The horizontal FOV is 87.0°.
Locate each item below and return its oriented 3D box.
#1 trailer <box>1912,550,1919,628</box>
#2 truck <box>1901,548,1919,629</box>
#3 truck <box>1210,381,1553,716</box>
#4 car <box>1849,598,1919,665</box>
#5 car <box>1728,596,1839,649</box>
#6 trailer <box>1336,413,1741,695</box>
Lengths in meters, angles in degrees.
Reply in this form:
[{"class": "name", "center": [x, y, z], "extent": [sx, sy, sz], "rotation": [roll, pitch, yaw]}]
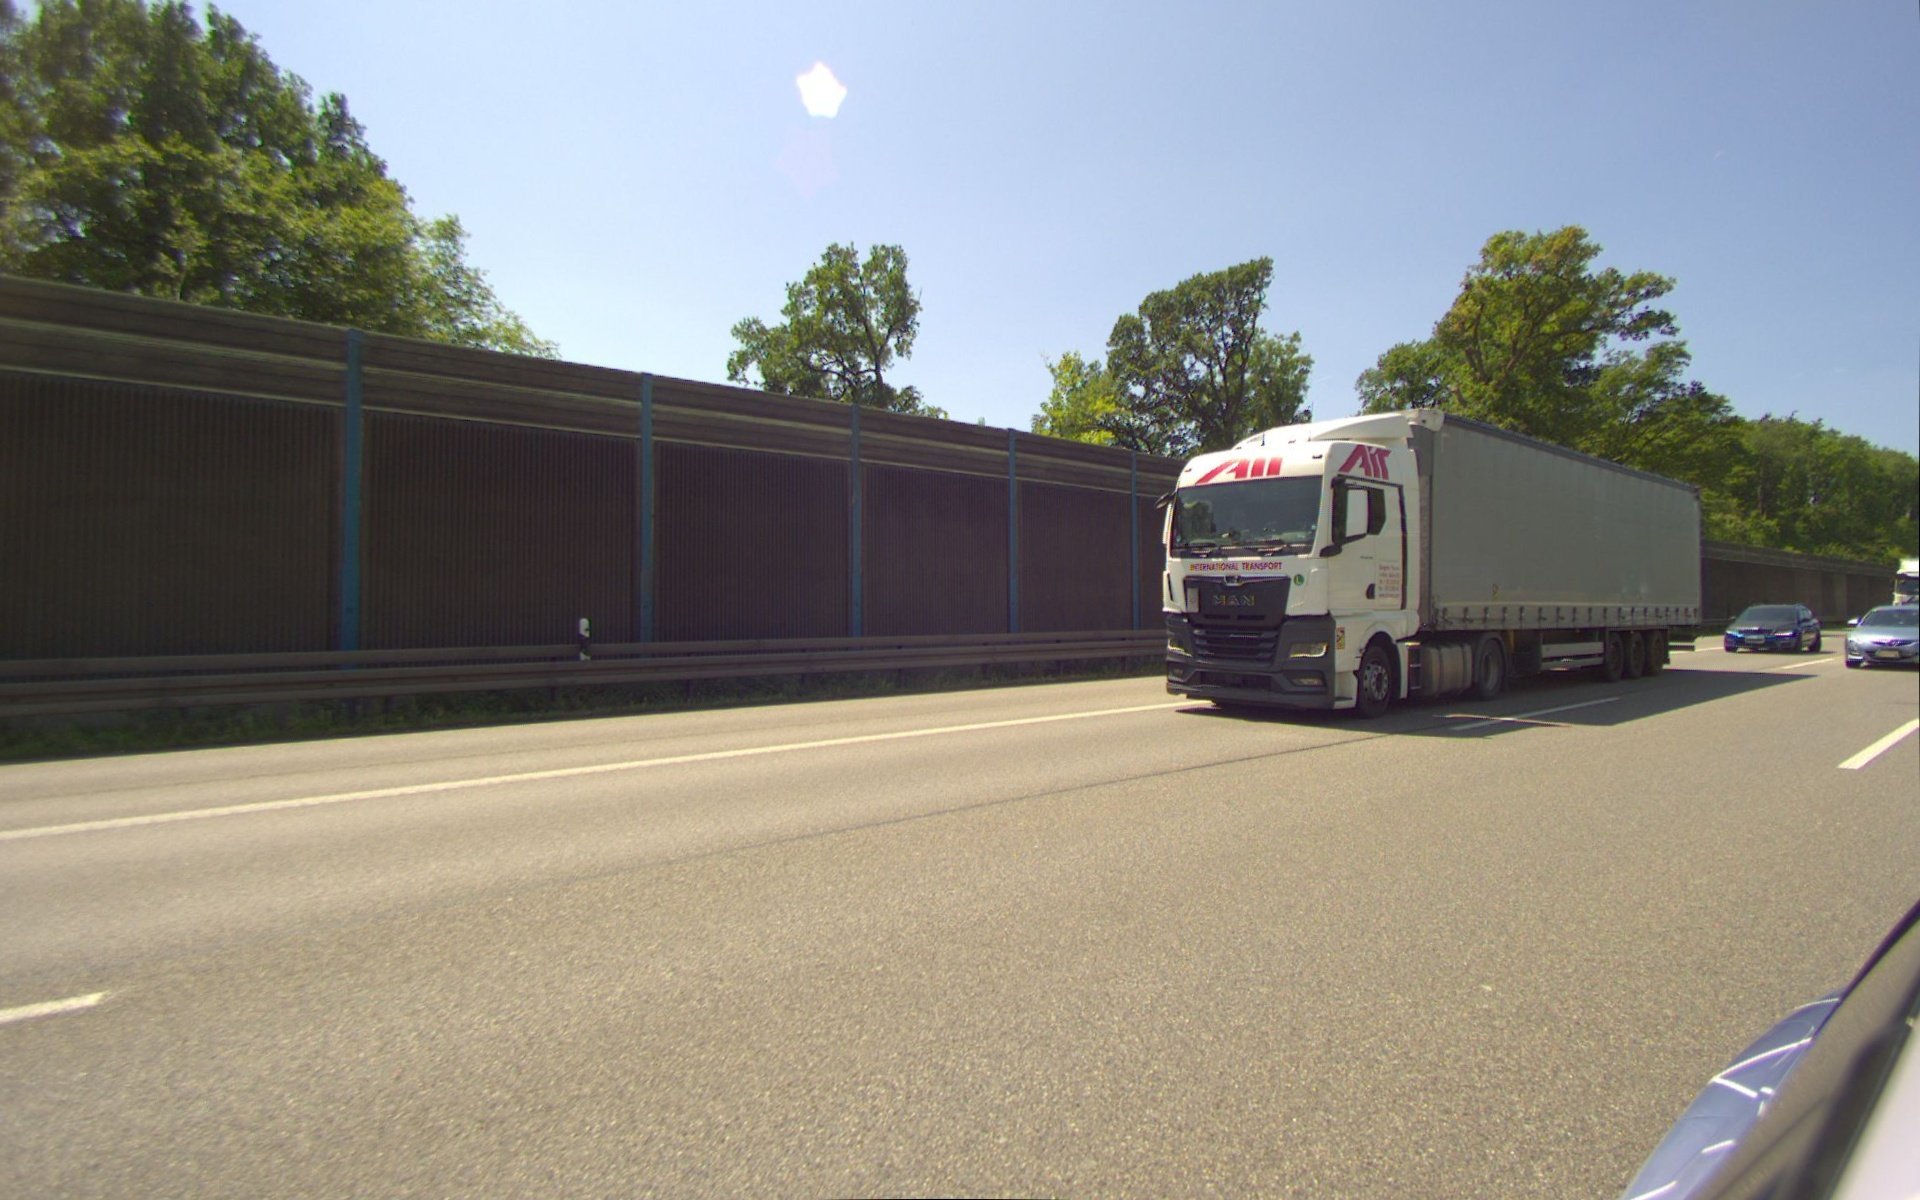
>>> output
[{"class": "trailer", "center": [58.748, -0.598, 58.891], "extent": [13.216, 4.269, 2.821], "rotation": [0, -1, -38]}, {"class": "truck", "center": [53.432, -0.610, 54.780], "extent": [5.321, 4.269, 2.812], "rotation": [0, -1, -38]}, {"class": "truck", "center": [6.499, -0.666, 15.283], "extent": [5.455, 4.142, 2.603], "rotation": [0, 0, -41]}, {"class": "car", "center": [22.184, 0.688, 23.354], "extent": [4.102, 1.452, 1.859], "rotation": [0, -1, -40]}, {"class": "car", "center": [25.190, 0.661, 30.919], "extent": [4.102, 1.512, 1.859], "rotation": [0, -1, -40]}, {"class": "trailer", "center": [12.195, -0.733, 20.178], "extent": [13.351, 4.142, 2.603], "rotation": [-1, 0, -40]}]
